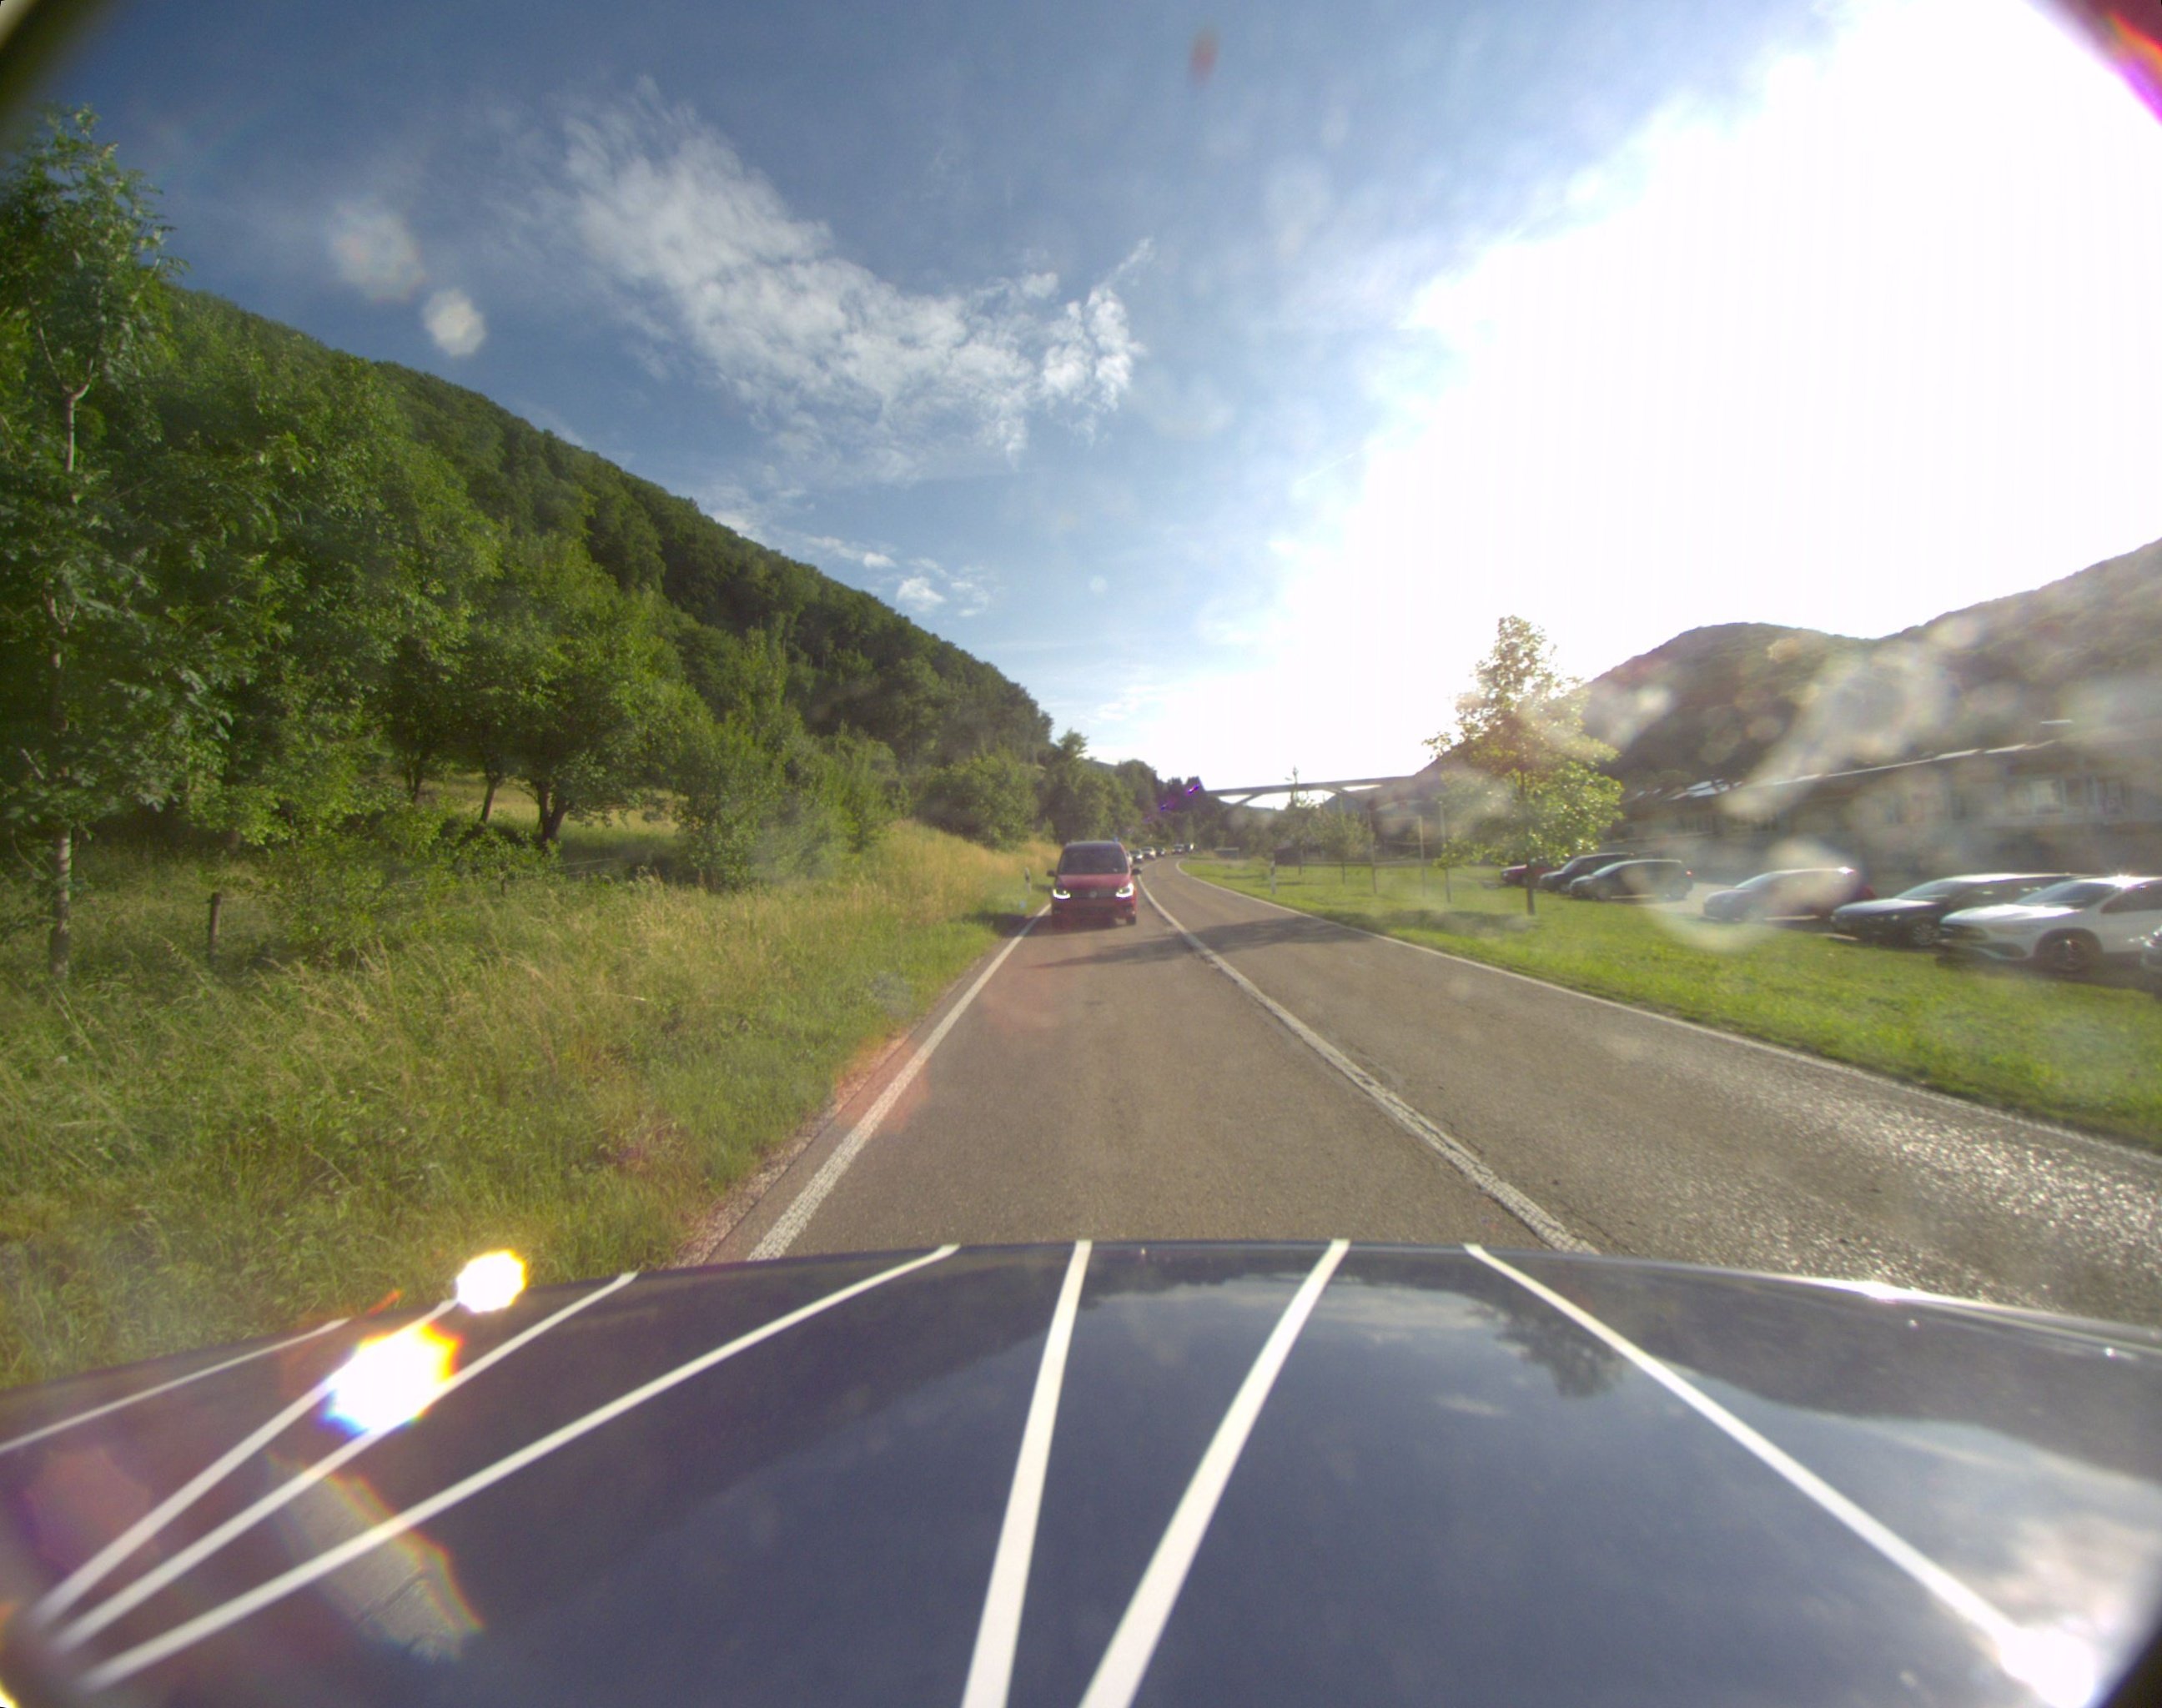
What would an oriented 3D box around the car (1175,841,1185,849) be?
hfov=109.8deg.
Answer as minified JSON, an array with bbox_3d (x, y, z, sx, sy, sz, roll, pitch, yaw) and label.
[{"bbox_3d":[17.485,-1.600,133.912,1.629,1.470,3.681,-2,1,8],"label":"car"}]

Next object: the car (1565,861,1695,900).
[{"bbox_3d":[22.654,1.086,31.510,4.014,1.443,1.686,-2,-1,11],"label":"car"}]

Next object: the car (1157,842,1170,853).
[{"bbox_3d":[12.620,-0.997,115.763,1.628,1.470,3.682,-2,1,12],"label":"car"}]

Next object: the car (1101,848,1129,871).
[{"bbox_3d":[2.556,0.383,55.770,1.629,1.470,3.681,-2,1,9],"label":"car"}]

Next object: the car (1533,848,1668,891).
[{"bbox_3d":[24.655,0.732,36.227,5.000,1.783,1.685,-2,1,11],"label":"car"}]

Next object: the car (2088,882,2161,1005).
[{"bbox_3d":[17.812,1.264,10.463,4.546,1.693,2.001,-2,1,13],"label":"car"}]

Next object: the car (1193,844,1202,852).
[{"bbox_3d":[23.662,-1.175,154.192,1.628,1.470,3.682,-2,1,12],"label":"car"}]

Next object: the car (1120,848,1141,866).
[{"bbox_3d":[4.324,0.246,66.118,1.629,1.470,3.680,-2,1,5],"label":"car"}]

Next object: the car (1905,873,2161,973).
[{"bbox_3d":[18.616,1.218,13.854,4.546,1.546,2.001,-2,1,13],"label":"car"}]

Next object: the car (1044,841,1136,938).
[{"bbox_3d":[0.319,0.648,16.410,1.648,1.762,4.000,-2,1,5],"label":"car"}]

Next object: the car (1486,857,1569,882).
[{"bbox_3d":[26.521,0.933,45.256,3.892,1.361,1.854,-1,2,14],"label":"car"}]

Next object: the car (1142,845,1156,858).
[{"bbox_3d":[8.500,-0.352,95.312,1.629,1.470,3.680,-2,1,5],"label":"car"}]

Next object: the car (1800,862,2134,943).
[{"bbox_3d":[19.424,1.063,16.929,4.546,1.546,2.001,-2,1,13],"label":"car"}]

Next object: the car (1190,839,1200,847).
[{"bbox_3d":[21.905,-2.061,146.116,1.628,1.470,3.682,-2,1,12],"label":"car"}]

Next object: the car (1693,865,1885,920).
[{"bbox_3d":[20.253,1.091,21.902,3.726,1.390,1.617,-2,1,13],"label":"car"}]

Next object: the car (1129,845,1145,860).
[{"bbox_3d":[5.946,-0.149,80.409,1.629,1.470,3.680,-2,1,5],"label":"car"}]

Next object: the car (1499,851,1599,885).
[{"bbox_3d":[25.583,0.777,41.680,4.326,1.660,1.850,-2,1,17],"label":"car"}]

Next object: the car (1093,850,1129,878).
[{"bbox_3d":[1.817,0.552,45.075,1.629,1.470,3.681,-2,1,9],"label":"car"}]
